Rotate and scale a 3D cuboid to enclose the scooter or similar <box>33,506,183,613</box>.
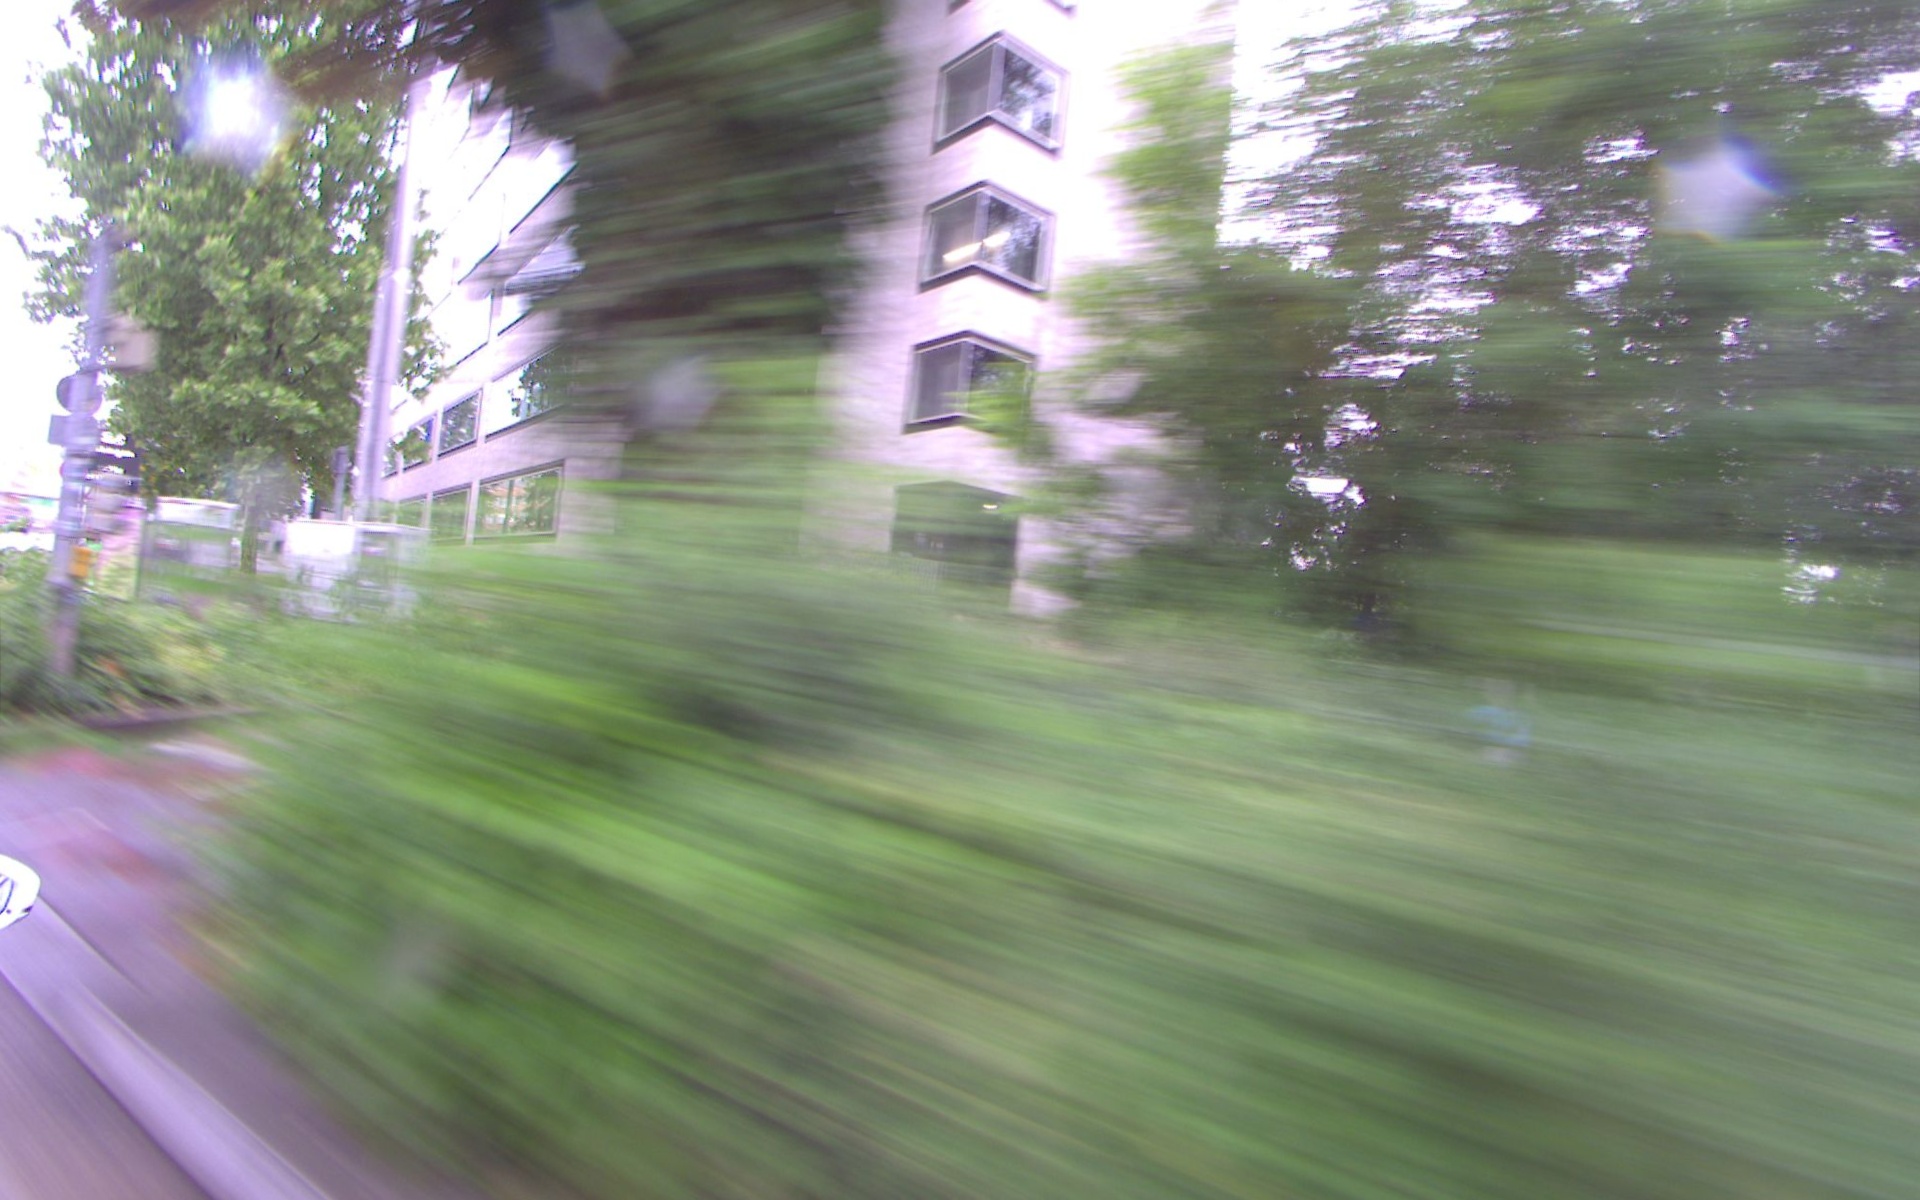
[{"bbox_3d":[-10.989,-0.490,13.034,0.676,1.215,1.339,6,-1,0],"label":"scooter or similar"}]

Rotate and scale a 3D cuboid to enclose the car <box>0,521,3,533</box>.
[{"bbox_3d":[-123.640,-9.472,128.351,1.852,1.551,4.187,7,-2,-39],"label":"car"}]

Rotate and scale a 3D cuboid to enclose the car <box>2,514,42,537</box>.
[{"bbox_3d":[-83.864,-6.623,89.983,1.888,1.713,3.964,7,-2,-35],"label":"car"}]

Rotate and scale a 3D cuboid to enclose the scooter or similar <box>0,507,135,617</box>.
[{"bbox_3d":[-10.635,-0.451,11.937,1.565,1.142,0.636,5,-1,26],"label":"scooter or similar"}]

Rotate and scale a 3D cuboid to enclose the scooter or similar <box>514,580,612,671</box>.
[{"bbox_3d":[-6.331,0.418,16.079,1.233,1.328,0.548,7,-1,-42],"label":"scooter or similar"}]
